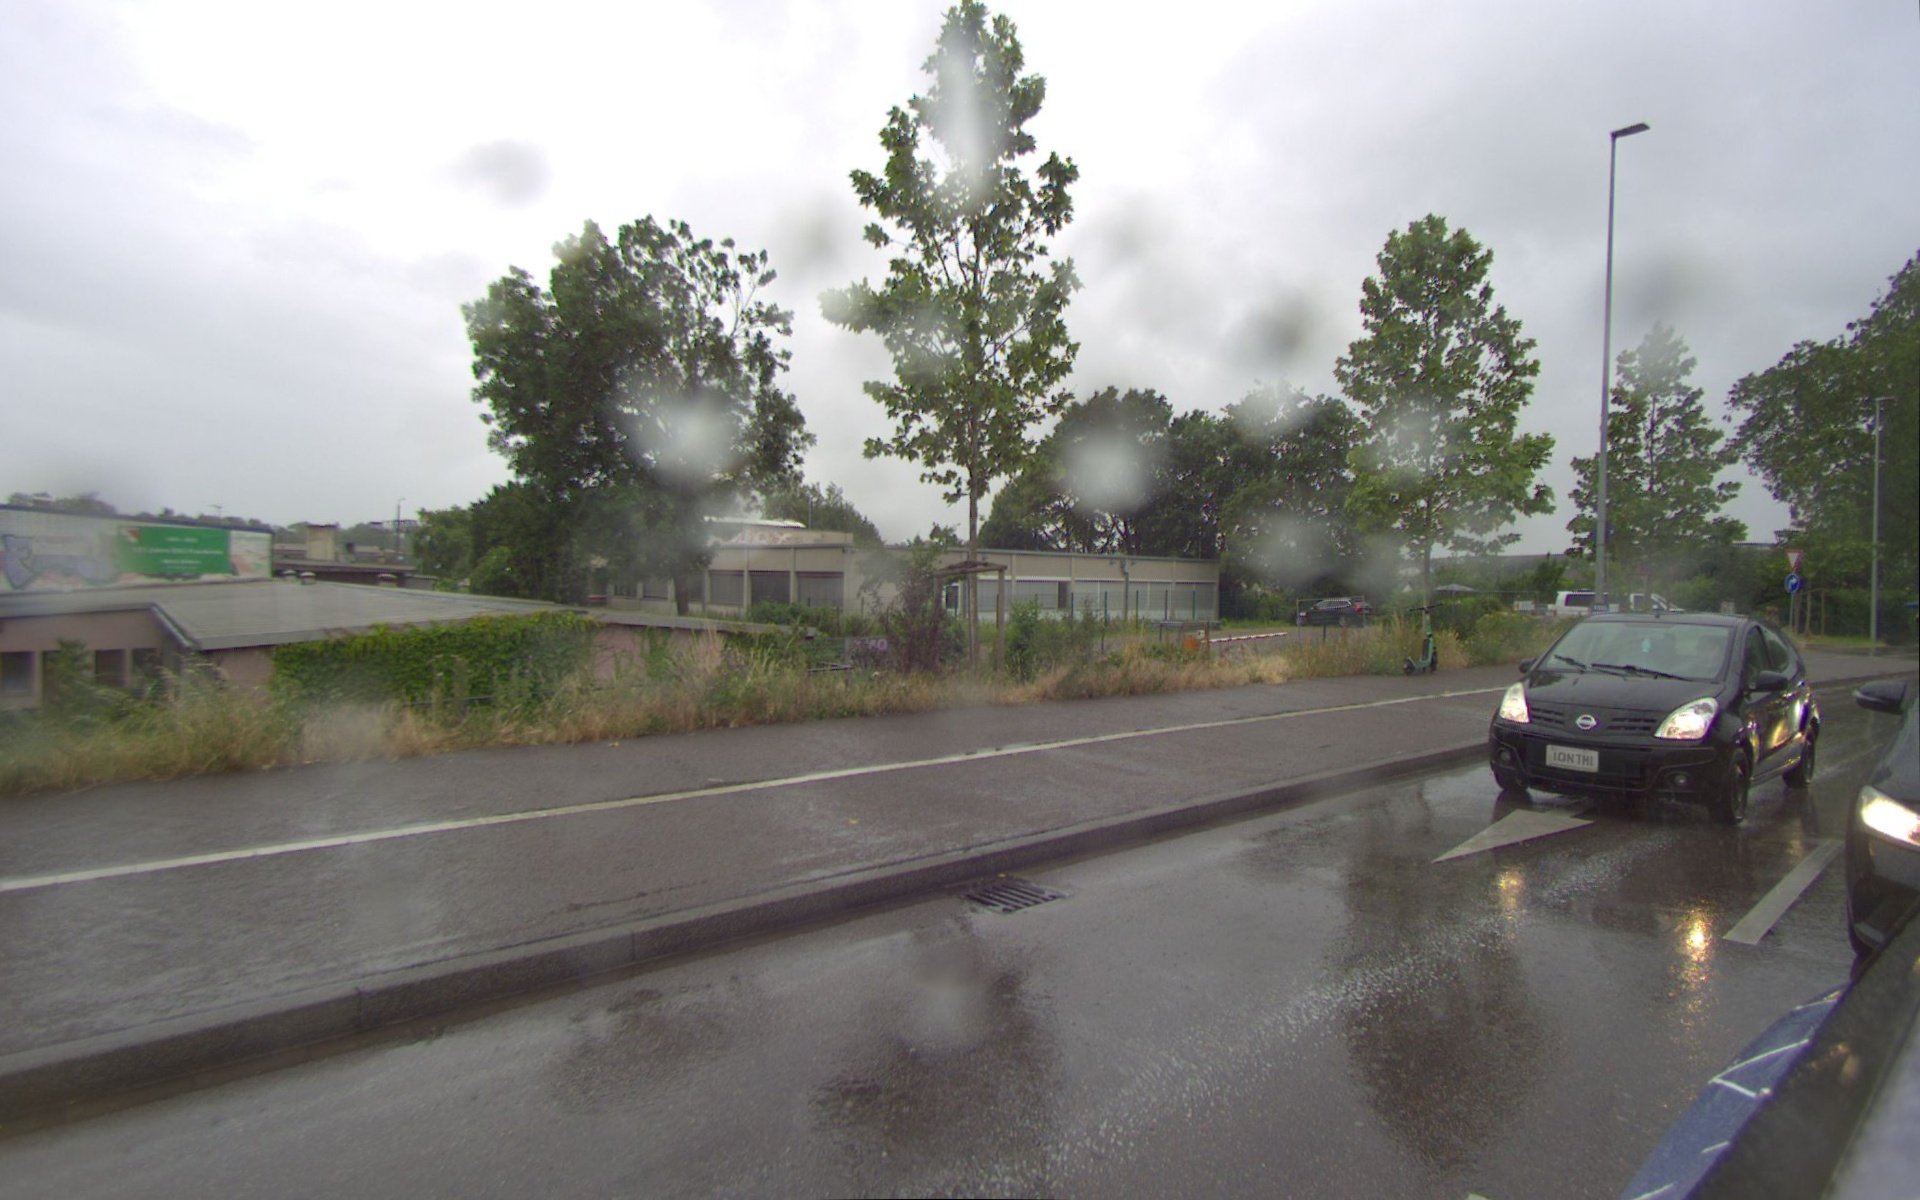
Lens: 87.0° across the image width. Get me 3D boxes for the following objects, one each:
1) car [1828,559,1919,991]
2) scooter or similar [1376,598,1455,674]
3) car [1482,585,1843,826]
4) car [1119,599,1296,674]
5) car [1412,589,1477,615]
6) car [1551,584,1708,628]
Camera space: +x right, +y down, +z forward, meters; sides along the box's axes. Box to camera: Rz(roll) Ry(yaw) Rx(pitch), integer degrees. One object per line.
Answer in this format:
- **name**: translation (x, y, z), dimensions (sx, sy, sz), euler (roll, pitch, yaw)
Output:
- **car**: translation (5.579, 0.676, 4.440), dimensions (4.089, 1.601, 1.760), euler (1, 0, -35)
- **scooter or similar**: translation (7.667, 0.585, 17.003), dimensions (1.877, 1.214, 0.367), euler (0, 0, -38)
- **car**: translation (5.780, 0.670, 8.182), dimensions (3.554, 1.528, 1.556), euler (0, 0, -41)
- **car**: translation (4.686, 0.644, 19.487), dimensions (1.319, 1.304, 3.246), euler (0, 0, -35)
- **car**: translation (30.938, 0.116, 64.677), dimensions (1.319, 1.604, 3.555), euler (0, 0, -35)
- **car**: translation (28.016, 0.236, 42.492), dimensions (1.972, 1.747, 5.168), euler (0, 0, -42)
